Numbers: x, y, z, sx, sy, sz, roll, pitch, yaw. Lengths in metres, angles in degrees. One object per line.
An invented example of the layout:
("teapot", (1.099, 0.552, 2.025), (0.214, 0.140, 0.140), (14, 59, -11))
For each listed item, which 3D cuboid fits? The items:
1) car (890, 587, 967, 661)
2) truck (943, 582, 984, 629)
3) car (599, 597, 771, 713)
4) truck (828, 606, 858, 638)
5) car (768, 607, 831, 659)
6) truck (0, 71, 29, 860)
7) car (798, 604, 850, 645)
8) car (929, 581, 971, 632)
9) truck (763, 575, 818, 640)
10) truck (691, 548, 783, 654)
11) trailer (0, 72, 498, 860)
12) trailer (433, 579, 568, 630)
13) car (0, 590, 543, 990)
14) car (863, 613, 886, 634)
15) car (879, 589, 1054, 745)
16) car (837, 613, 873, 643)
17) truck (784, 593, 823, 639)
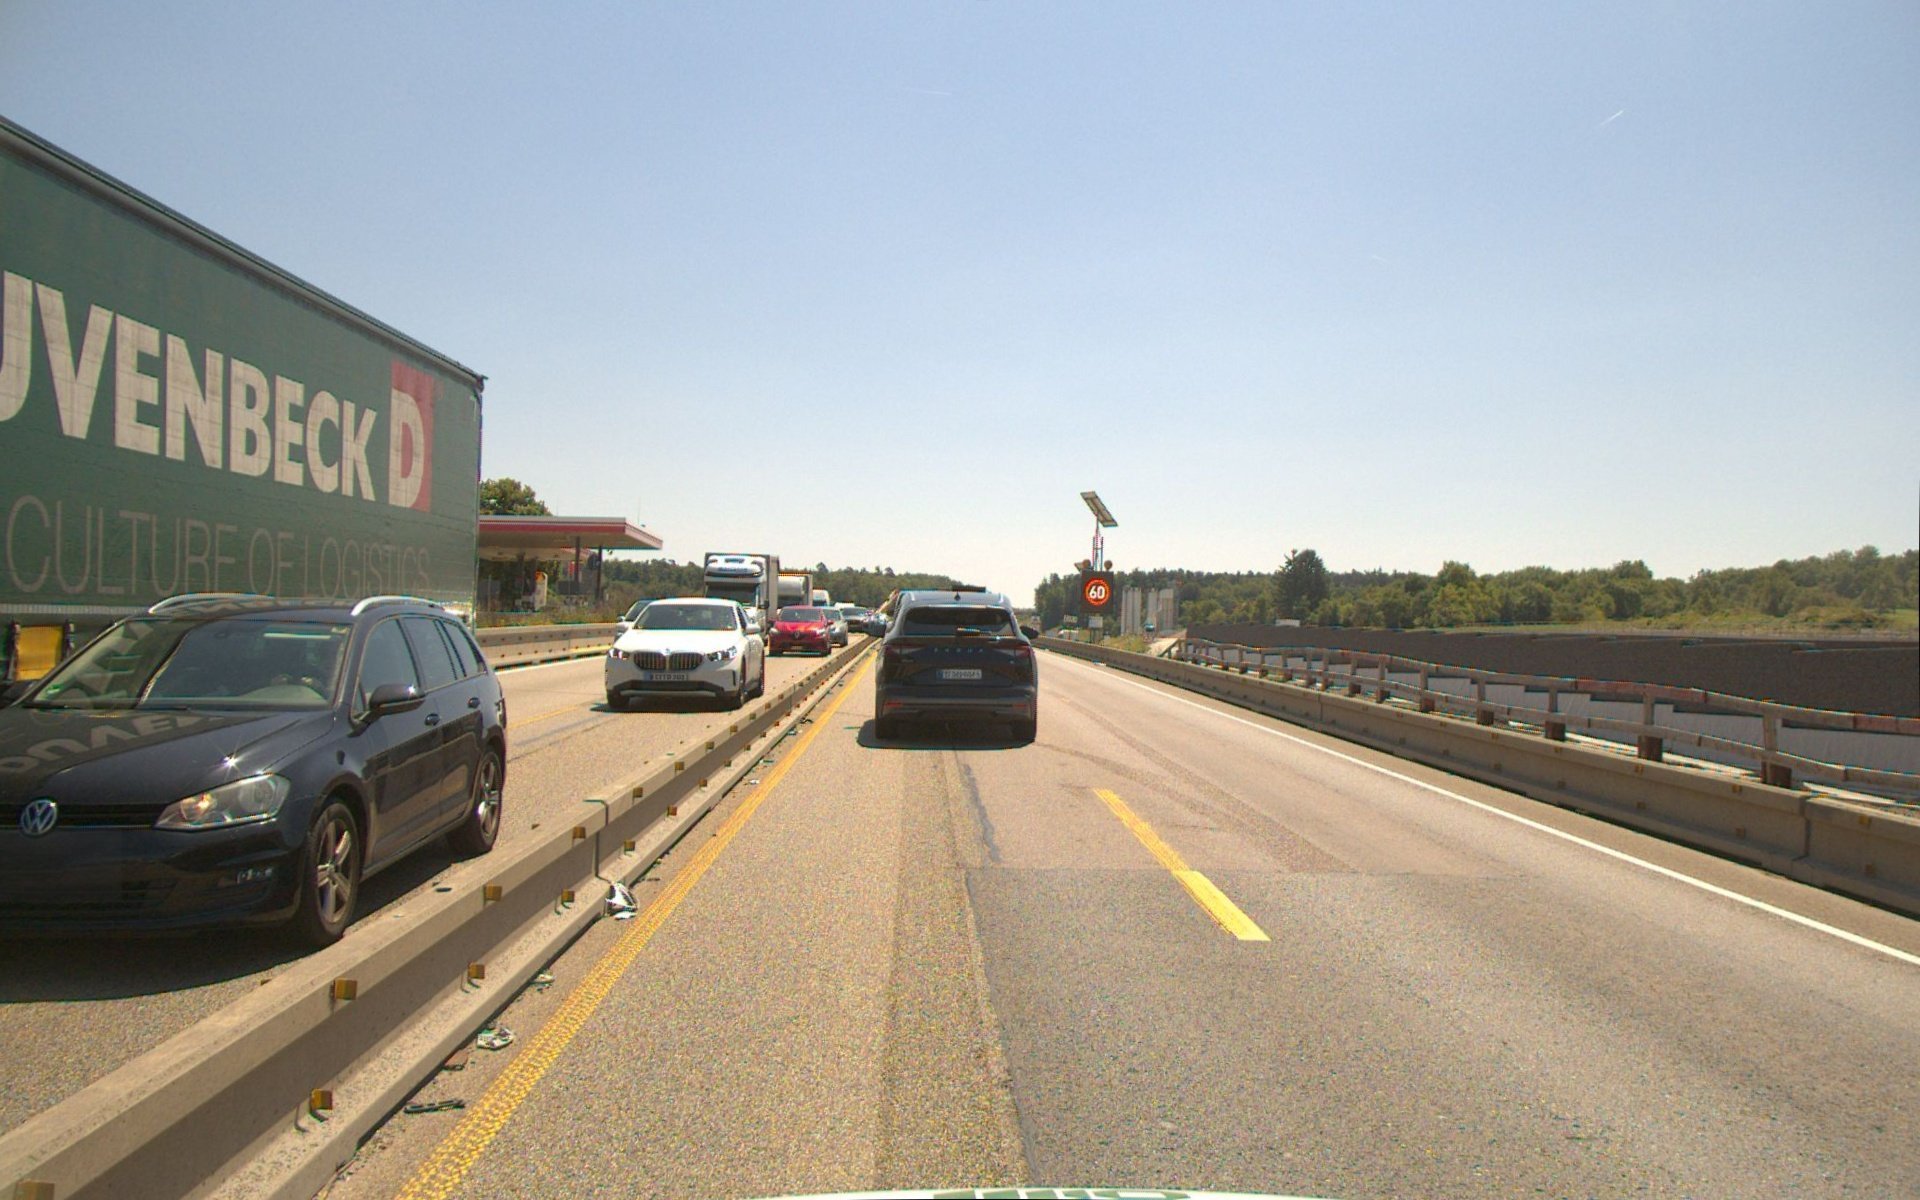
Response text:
("car", (-0.927, 0.682, 46.118), (1.954, 1.876, 3.997), (3, -1, -3))
("truck", (0.184, 0.381, 110.330), (2.618, 2.997, 5.619), (1, -1, -1))
("car", (-3.931, 0.735, 24.375), (1.858, 1.519, 4.758), (1, 0, -2))
("truck", (-11.181, 2.130, 158.829), (2.430, 2.874, 8.125), (1, -1, -2))
("car", (-4.708, 0.942, 48.918), (1.616, 1.459, 3.998), (1, 0, -2))
("truck", (-6.598, -0.748, 5.986), (2.946, 4.277, 6.281), (1, 0, -2))
("car", (-4.971, 0.874, 60.877), (1.648, 1.454, 4.200), (1, 0, -2))
("car", (-0.962, 0.656, 149.848), (3.368, 4.171, 9.193), (6, -1, -1))
("truck", (-9.103, 0.381, 89.547), (2.445, 3.349, 8.114), (0, 0, -2))
("truck", (-7.791, 0.043, 58.645), (2.341, 3.444, 7.711), (1, 0, -2))
("trailer", (-6.796, -0.730, 12.666), (2.946, 4.272, 13.845), (1, 0, -2))
("trailer", (-40.462, 0.491, 146.503), (3.087, 4.184, 14.152), (0, -2, 25))
("car", (-3.457, 0.717, 8.340), (1.730, 1.499, 4.226), (1, 0, -2))
("car", (-7.133, 1.968, 138.635), (1.807, 1.670, 3.999), (1, 0, -1))
("car", (0.041, 0.706, 19.250), (1.805, 1.609, 3.999), (1, 0, -1))
("car", (-6.062, 1.591, 96.096), (1.903, 1.688, 4.743), (0, 0, -2))
("truck", (-10.127, 1.046, 107.615), (2.194, 2.835, 6.488), (1, -1, -3))
